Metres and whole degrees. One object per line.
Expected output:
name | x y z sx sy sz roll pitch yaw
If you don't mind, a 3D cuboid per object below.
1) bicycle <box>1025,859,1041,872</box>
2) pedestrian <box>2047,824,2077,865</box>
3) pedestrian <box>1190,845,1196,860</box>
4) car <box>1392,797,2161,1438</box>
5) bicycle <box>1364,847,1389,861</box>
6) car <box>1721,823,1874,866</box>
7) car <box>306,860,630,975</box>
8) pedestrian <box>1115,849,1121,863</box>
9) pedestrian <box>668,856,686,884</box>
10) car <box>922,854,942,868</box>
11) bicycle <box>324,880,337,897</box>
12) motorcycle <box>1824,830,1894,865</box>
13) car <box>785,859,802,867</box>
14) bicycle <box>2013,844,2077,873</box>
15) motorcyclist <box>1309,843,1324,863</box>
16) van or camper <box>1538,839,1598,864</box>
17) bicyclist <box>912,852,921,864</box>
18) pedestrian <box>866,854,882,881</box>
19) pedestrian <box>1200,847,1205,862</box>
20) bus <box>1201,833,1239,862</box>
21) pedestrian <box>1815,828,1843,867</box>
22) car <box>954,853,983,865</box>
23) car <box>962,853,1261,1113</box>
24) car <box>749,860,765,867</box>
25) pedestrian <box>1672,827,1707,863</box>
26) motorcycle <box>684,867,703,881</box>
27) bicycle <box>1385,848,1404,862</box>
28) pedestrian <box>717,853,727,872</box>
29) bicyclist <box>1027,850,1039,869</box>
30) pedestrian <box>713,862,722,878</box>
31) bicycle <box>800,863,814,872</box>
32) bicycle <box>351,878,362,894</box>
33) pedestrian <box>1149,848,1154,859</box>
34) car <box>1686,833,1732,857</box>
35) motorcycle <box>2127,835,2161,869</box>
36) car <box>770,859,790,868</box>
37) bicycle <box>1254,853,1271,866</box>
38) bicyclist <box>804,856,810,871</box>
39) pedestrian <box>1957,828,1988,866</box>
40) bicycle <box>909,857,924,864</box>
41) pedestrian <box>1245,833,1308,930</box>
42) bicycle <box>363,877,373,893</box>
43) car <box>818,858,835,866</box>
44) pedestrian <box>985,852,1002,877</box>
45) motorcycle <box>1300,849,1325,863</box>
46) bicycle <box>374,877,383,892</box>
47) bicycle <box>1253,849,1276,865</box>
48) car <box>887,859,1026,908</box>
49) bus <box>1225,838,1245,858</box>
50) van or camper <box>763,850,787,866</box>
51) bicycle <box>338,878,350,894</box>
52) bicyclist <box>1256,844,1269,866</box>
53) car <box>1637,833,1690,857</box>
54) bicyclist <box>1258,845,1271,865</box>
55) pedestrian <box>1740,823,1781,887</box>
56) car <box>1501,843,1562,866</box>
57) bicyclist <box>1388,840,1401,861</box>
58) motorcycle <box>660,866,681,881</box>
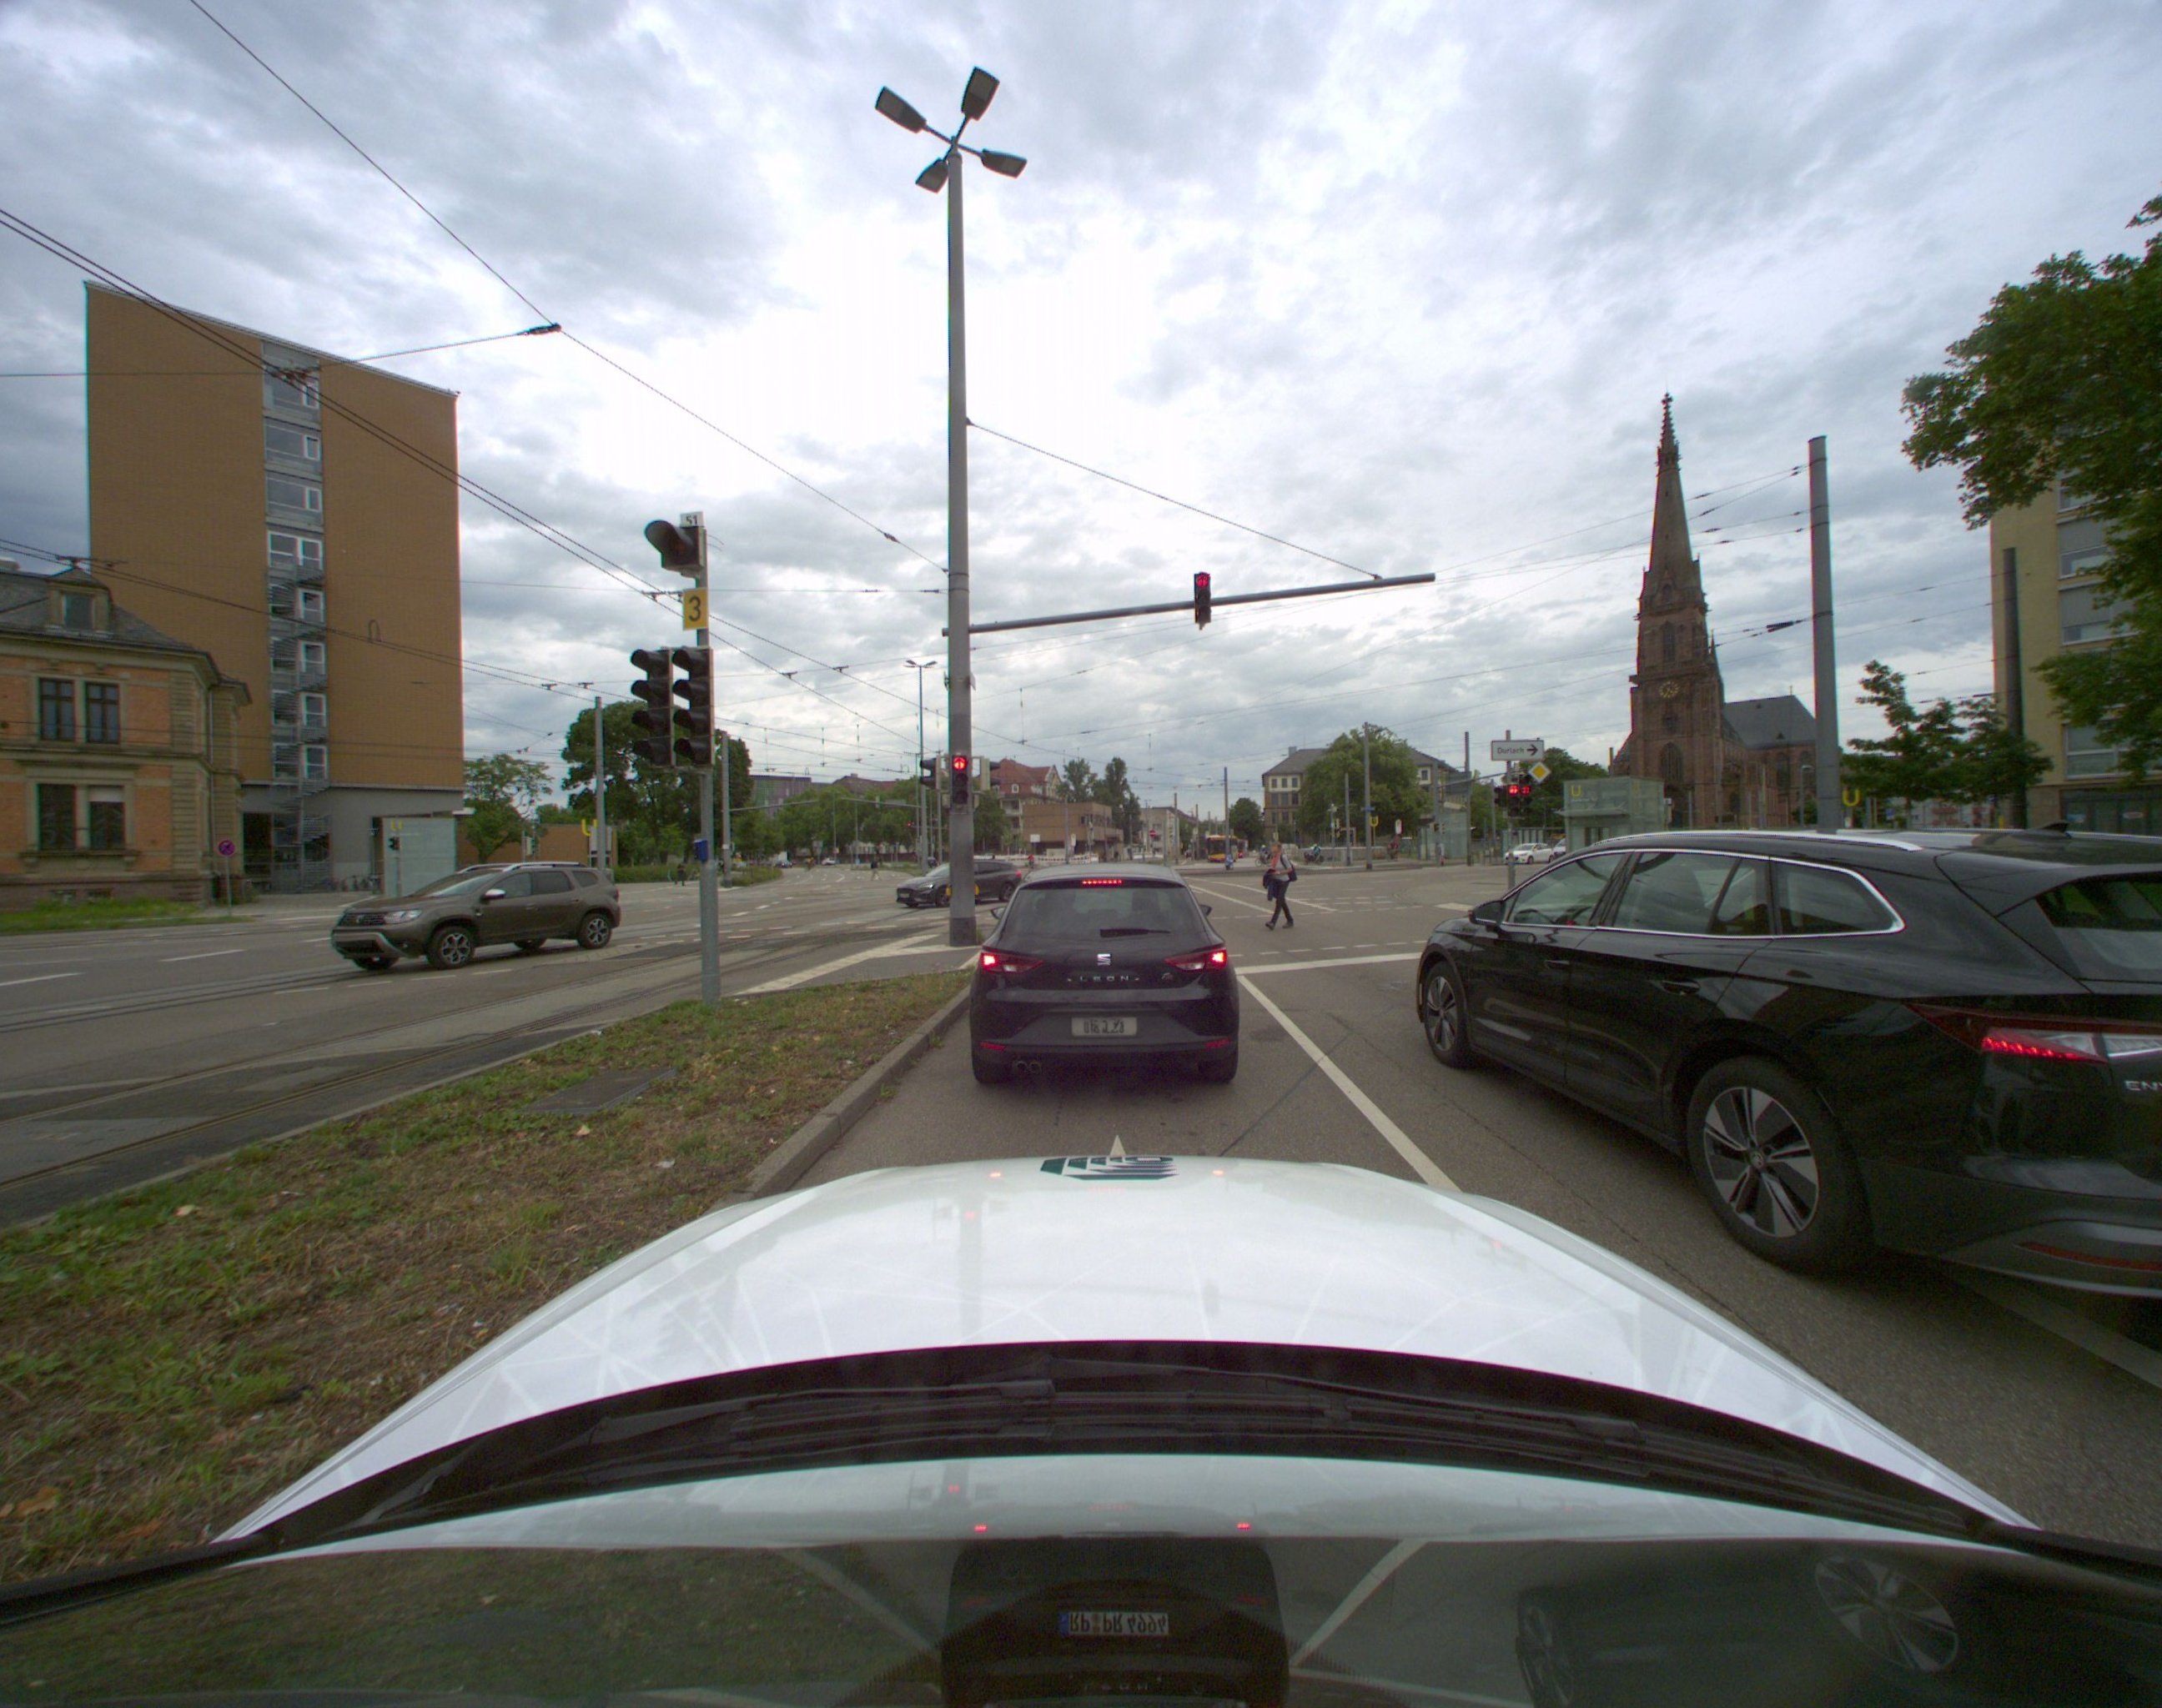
bicycle | -4.447 1.058 75.615 0.895 1.178 2.287 -1 0 -19
pedestrian | 39.537 -0.378 32.826 0.875 1.638 0.631 -1 0 -32
pedestrian | 14.386 -0.235 104.447 0.617 1.918 0.701 -1 0 11
car | 3.357 0.637 4.289 1.771 1.597 4.510 -1 0 1
bicycle | 29.791 -0.008 82.190 2.248 1.331 0.709 -2 -1 9
car | 37.685 -0.468 43.017 5.672 2.014 2.038 -2 -1 19
car | -10.393 0.959 14.272 1.783 1.640 4.249 -1 0 17
pedestrian | 4.990 0.257 109.832 0.618 1.918 0.711 -1 0 5
pedestrian | -29.434 1.183 59.367 1.023 2.013 0.841 -1 0 -18
car | -19.411 0.909 105.951 2.000 1.684 3.973 -1 -1 -20
bicycle | -51.546 2.352 55.933 0.575 1.106 1.411 -1 0 -41
motorcycle | 27.022 -0.221 28.276 2.386 1.168 0.762 -1 0 -19
car | -58.998 1.858 166.904 1.792 1.464 3.951 -1 1 -44
bicycle | 31.574 0.154 26.691 0.596 0.917 1.253 -1 0 -28
motorcyclist | 19.769 -0.092 68.406 0.984 1.649 0.742 -1 -1 -31
van or camper | 35.380 -0.175 59.135 4.321 1.742 1.979 -1 -1 -34
bicyclist | -27.756 0.691 137.441 0.928 2.013 0.984 -1 0 30
pedestrian | -15.443 0.990 60.758 1.032 1.934 0.695 -1 0 -24
pedestrian | 15.683 0.012 104.882 0.617 1.918 0.701 -1 0 11
bus | 16.115 -0.717 93.753 2.938 3.123 11.589 -1 0 17
pedestrian | 31.637 -0.268 34.442 0.875 1.638 0.631 -1 0 -31
car | -17.123 0.743 124.174 3.970 1.684 2.001 -2 -1 3
car | 0.121 0.730 6.582 1.700 1.449 3.809 -1 0 -2
car | -68.521 2.039 172.189 1.792 1.464 3.951 -1 1 -44
pedestrian | 31.021 -0.469 41.527 0.950 1.797 1.077 -1 -2 -31
motorcycle | -34.303 1.756 72.053 0.506 1.111 1.751 -1 0 15
bicycle | 28.187 0.062 73.126 2.044 1.184 0.768 -1 0 -44
pedestrian | -37.905 0.915 85.993 0.799 1.981 0.872 -1 -2 -33
bicyclist | -4.426 0.499 75.545 0.886 1.732 0.888 -1 0 -20
pedestrian | -46.507 2.022 104.212 0.880 1.981 0.791 -1 -1 -16
bicycle | -37.958 1.865 112.948 0.429 1.236 1.838 -3 -2 45
bicycle | -50.557 2.204 56.852 0.512 1.049 1.411 -1 0 -41
pedestrian | 12.540 -0.071 144.529 0.615 1.918 0.715 -2 -2 27
car | 53.691 -0.777 69.623 4.017 2.013 1.978 -1 0 -36
motorcycle | 31.792 -0.060 24.168 1.020 0.997 0.863 -1 0 -40
car | -53.785 1.655 145.375 1.792 1.464 3.950 -1 0 -45
bicycle | 16.047 0.479 72.055 0.863 1.104 2.300 -1 0 -3
bicyclist | -38.030 1.328 112.908 0.508 2.014 0.593 -3 -2 45
pedestrian | 38.846 -0.316 35.508 0.776 1.638 0.641 -1 0 35
bicycle | -27.751 1.110 137.446 0.930 1.179 2.747 -1 0 30
pedestrian | 4.015 0.541 16.694 1.110 1.907 0.727 0 -1 -41
bicycle | -50.143 2.174 57.290 0.484 1.049 1.411 -1 0 -41
car | -47.678 1.434 152.416 1.790 1.464 3.956 -1 1 -36
pedestrian | -6.856 0.802 63.926 0.692 1.934 1.037 -2 0 40
motorcycle | 19.400 0.179 68.189 2.148 1.139 0.737 -1 0 -31
bicycle | -49.741 2.150 57.642 0.484 1.049 1.411 -1 0 -41
bicycle | 15.243 0.248 67.815 1.730 1.321 0.643 -1 0 -10
car | -4.017 0.914 26.925 1.677 1.396 4.419 -1 0 44
bus | 25.933 -0.992 136.753 2.635 3.283 11.035 -1 0 13
van or camper | -62.596 0.872 166.578 5.434 3.124 2.410 -1 0 43
bicycle | -51.061 2.213 56.408 0.575 1.106 1.411 -1 0 -41
bicyclist | 16.045 0.090 72.006 0.869 1.851 1.046 -1 0 -4
car | 46.314 -0.710 64.720 4.011 1.775 1.883 -1 -1 -30
bicyclist | 15.263 0.066 67.826 0.854 1.673 0.652 -1 0 -10
pedestrian | 20.935 0.021 25.091 0.878 1.930 1.023 -1 0 44
car | 30.551 0.034 55.247 4.011 1.464 1.758 -1 -1 -29
bicyclist | 28.148 -0.297 73.101 1.003 1.897 0.768 -1 0 -44
motorcycle | -35.332 1.675 70.150 1.481 1.268 0.505 -1 0 -44
